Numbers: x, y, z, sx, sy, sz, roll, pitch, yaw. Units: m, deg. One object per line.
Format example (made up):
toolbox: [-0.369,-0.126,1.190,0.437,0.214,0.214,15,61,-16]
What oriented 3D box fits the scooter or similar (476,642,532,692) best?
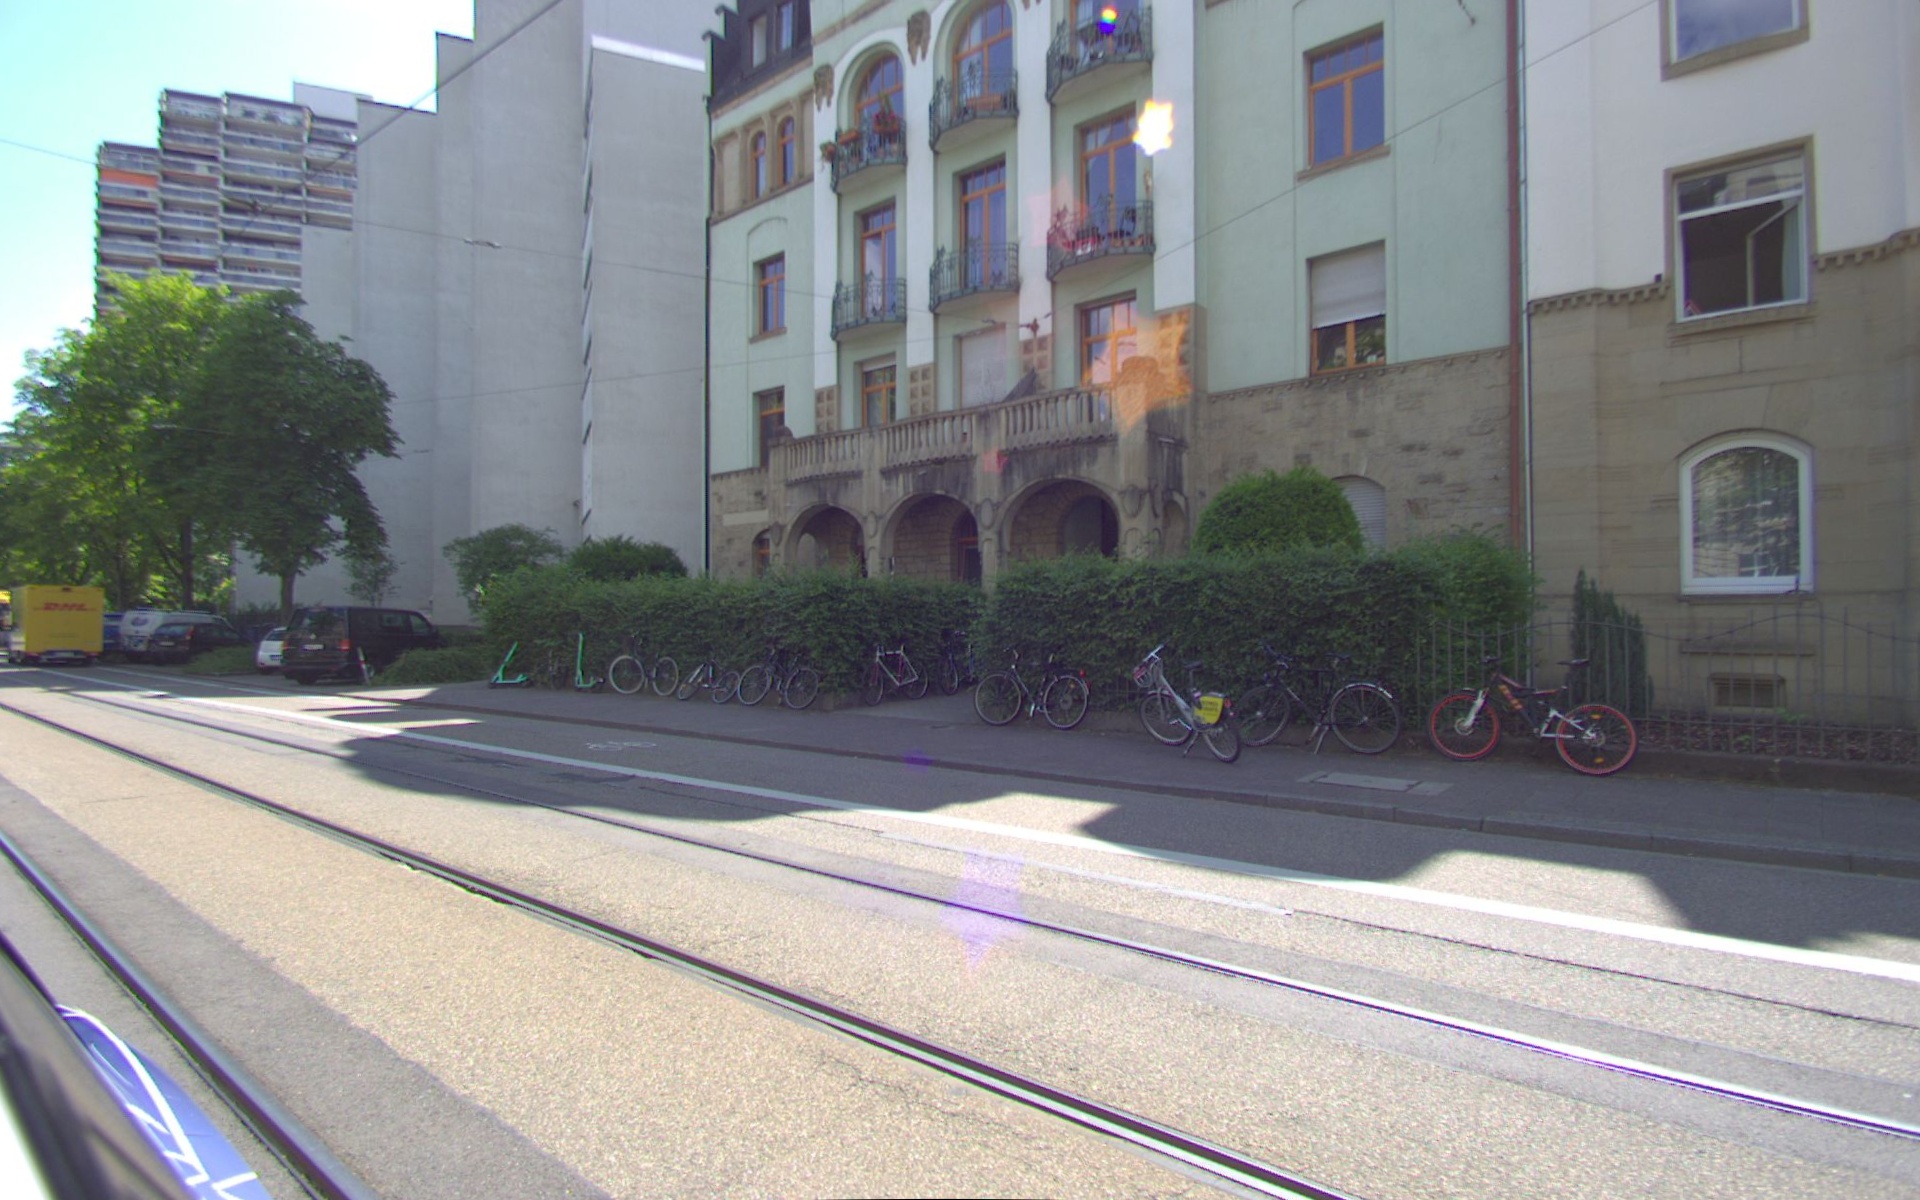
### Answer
scooter or similar: [-9.794,1.423,21.718,1.217,1.028,0.403,-1,-2,25]

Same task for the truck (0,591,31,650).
truck: [-72.328,1.577,75.907,2.633,4.212,10.497,1,-2,-36]

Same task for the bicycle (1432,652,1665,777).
bicycle: [5.186,0.972,8.993,1.724,0.973,0.409,-2,1,41]

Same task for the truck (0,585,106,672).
truck: [-33.607,1.040,37.374,6.513,2.943,2.276,-2,-2,42]

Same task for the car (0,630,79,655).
car: [-55.602,2.551,61.199,1.657,1.430,3.679,0,-2,-6]

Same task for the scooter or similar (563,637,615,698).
scooter or similar: [-7.151,1.276,19.474,1.290,1.128,0.401,-2,-2,42]

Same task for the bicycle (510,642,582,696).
bicycle: [-8.453,1.381,20.631,1.706,0.996,0.601,-2,2,40]

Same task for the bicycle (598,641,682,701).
bicycle: [-5.845,1.276,18.435,1.706,0.996,0.601,-2,2,40]

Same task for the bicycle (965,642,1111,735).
bicycle: [0.951,1.073,12.678,1.770,1.040,0.601,-2,2,40]

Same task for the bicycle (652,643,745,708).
bicycle: [-4.457,1.256,17.186,1.706,0.996,0.601,-2,2,40]

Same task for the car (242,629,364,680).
car: [-20.391,1.653,31.576,1.700,1.465,3.632,0,-2,-6]

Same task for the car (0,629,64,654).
car: [-58.202,2.570,63.079,1.657,1.465,3.679,0,-2,-6]

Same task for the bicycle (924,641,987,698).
bicycle: [-0.068,1.166,17.137,0.339,0.915,1.192,-2,-2,42]

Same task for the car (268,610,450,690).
car: [-15.741,1.269,26.836,1.936,1.940,4.582,0,-2,3]

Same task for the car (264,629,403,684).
car: [-18.057,1.595,29.394,1.659,1.465,3.945,0,-1,-1]

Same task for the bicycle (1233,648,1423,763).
bicycle: [3.640,1.012,10.100,1.707,1.006,0.459,-2,1,41]

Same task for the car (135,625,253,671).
car: [-28.094,1.736,37.262,1.658,1.587,3.686,1,-1,-2]

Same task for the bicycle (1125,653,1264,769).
bicycle: [2.308,1.069,10.203,0.599,1.007,1.779,0,-2,-14]

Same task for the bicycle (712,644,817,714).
bicycle: [-3.082,1.211,15.901,1.770,0.983,0.601,-2,2,40]

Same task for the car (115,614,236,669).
car: [-30.622,1.596,39.660,1.580,2.058,4.052,0,-2,0]

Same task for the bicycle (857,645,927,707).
bicycle: [-1.062,1.184,15.927,0.339,0.915,1.192,-2,-2,42]
